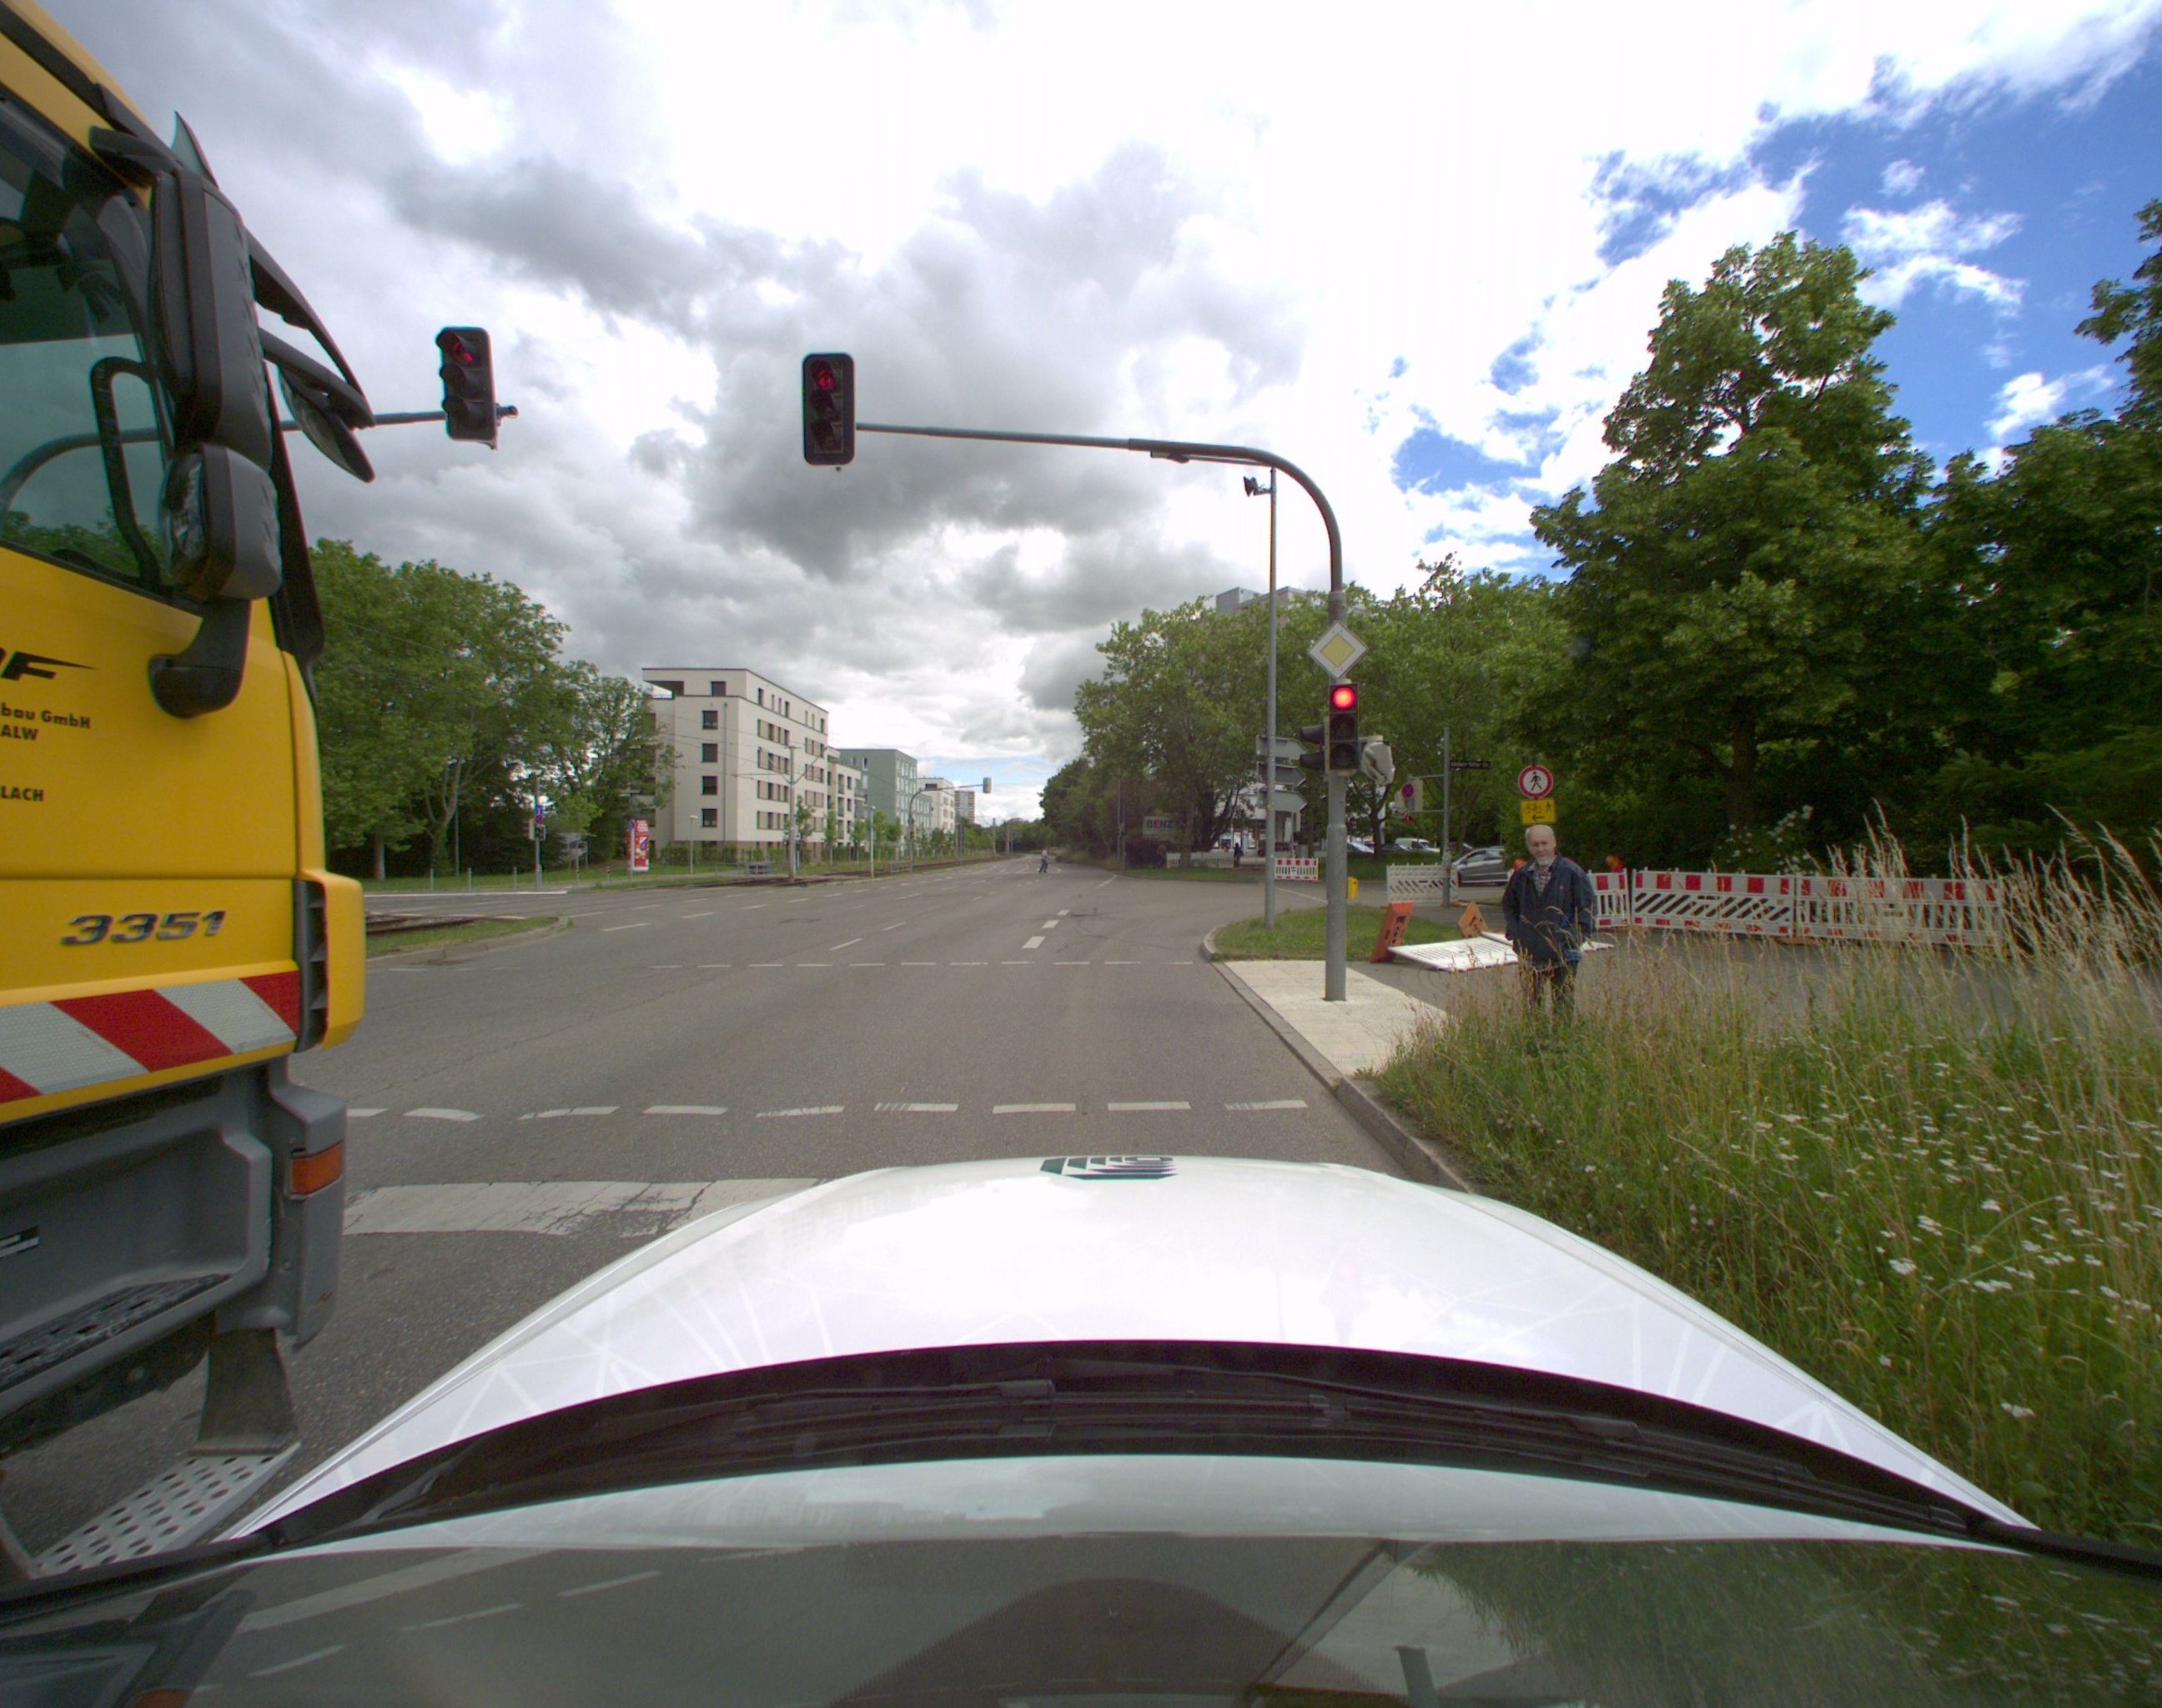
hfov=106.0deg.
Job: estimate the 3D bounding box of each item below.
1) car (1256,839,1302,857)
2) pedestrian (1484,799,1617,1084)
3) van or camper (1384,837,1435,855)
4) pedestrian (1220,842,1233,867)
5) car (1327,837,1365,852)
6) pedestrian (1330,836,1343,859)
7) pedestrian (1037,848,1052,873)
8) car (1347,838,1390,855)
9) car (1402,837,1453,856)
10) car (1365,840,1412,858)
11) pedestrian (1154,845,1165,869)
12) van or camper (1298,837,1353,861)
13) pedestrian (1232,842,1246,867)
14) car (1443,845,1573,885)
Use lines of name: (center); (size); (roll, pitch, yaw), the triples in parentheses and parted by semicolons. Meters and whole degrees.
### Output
car: (17.521, -0.495, 72.272); (1.736, 1.500, 4.234); (0, -1, -24)
pedestrian: (3.220, 0.533, 5.575); (0.719, 1.740, 0.962); (-1, 0, 32)
van or camper: (26.997, -0.645, 67.022); (1.523, 1.356, 3.738); (0, -1, -31)
pedestrian: (8.753, 0.050, 48.928); (0.682, 1.489, 0.700); (0, -1, 5)
car: (25.314, -0.896, 77.802); (1.489, 1.404, 3.377); (0, -1, -29)
pedestrian: (22.229, -0.556, 70.924); (0.802, 2.002, 0.852); (0, -1, -3)
pedestrian: (-2.318, 0.389, 52.171); (0.845, 1.586, 0.797); (0, -1, 3)
car: (28.025, -0.769, 79.396); (1.677, 1.634, 3.787); (0, 1, -28)
car: (29.021, -0.600, 68.340); (1.489, 1.465, 3.856); (0, -1, -29)
car: (24.320, -0.376, 64.520); (1.488, 1.404, 3.378); (0, -1, -27)
pedestrian: (5.015, 0.187, 51.934); (0.650, 1.539, 0.774); (0, -1, 6)
van or camper: (18.479, -0.383, 61.723); (1.849, 1.684, 3.967); (-1, 0, -25)
pedestrian: (9.358, 0.050, 48.318); (0.714, 1.489, 0.700); (0, -1, 6)
car: (17.393, 0.447, 33.350); (4.379, 1.586, 1.774); (0, -1, 2)
